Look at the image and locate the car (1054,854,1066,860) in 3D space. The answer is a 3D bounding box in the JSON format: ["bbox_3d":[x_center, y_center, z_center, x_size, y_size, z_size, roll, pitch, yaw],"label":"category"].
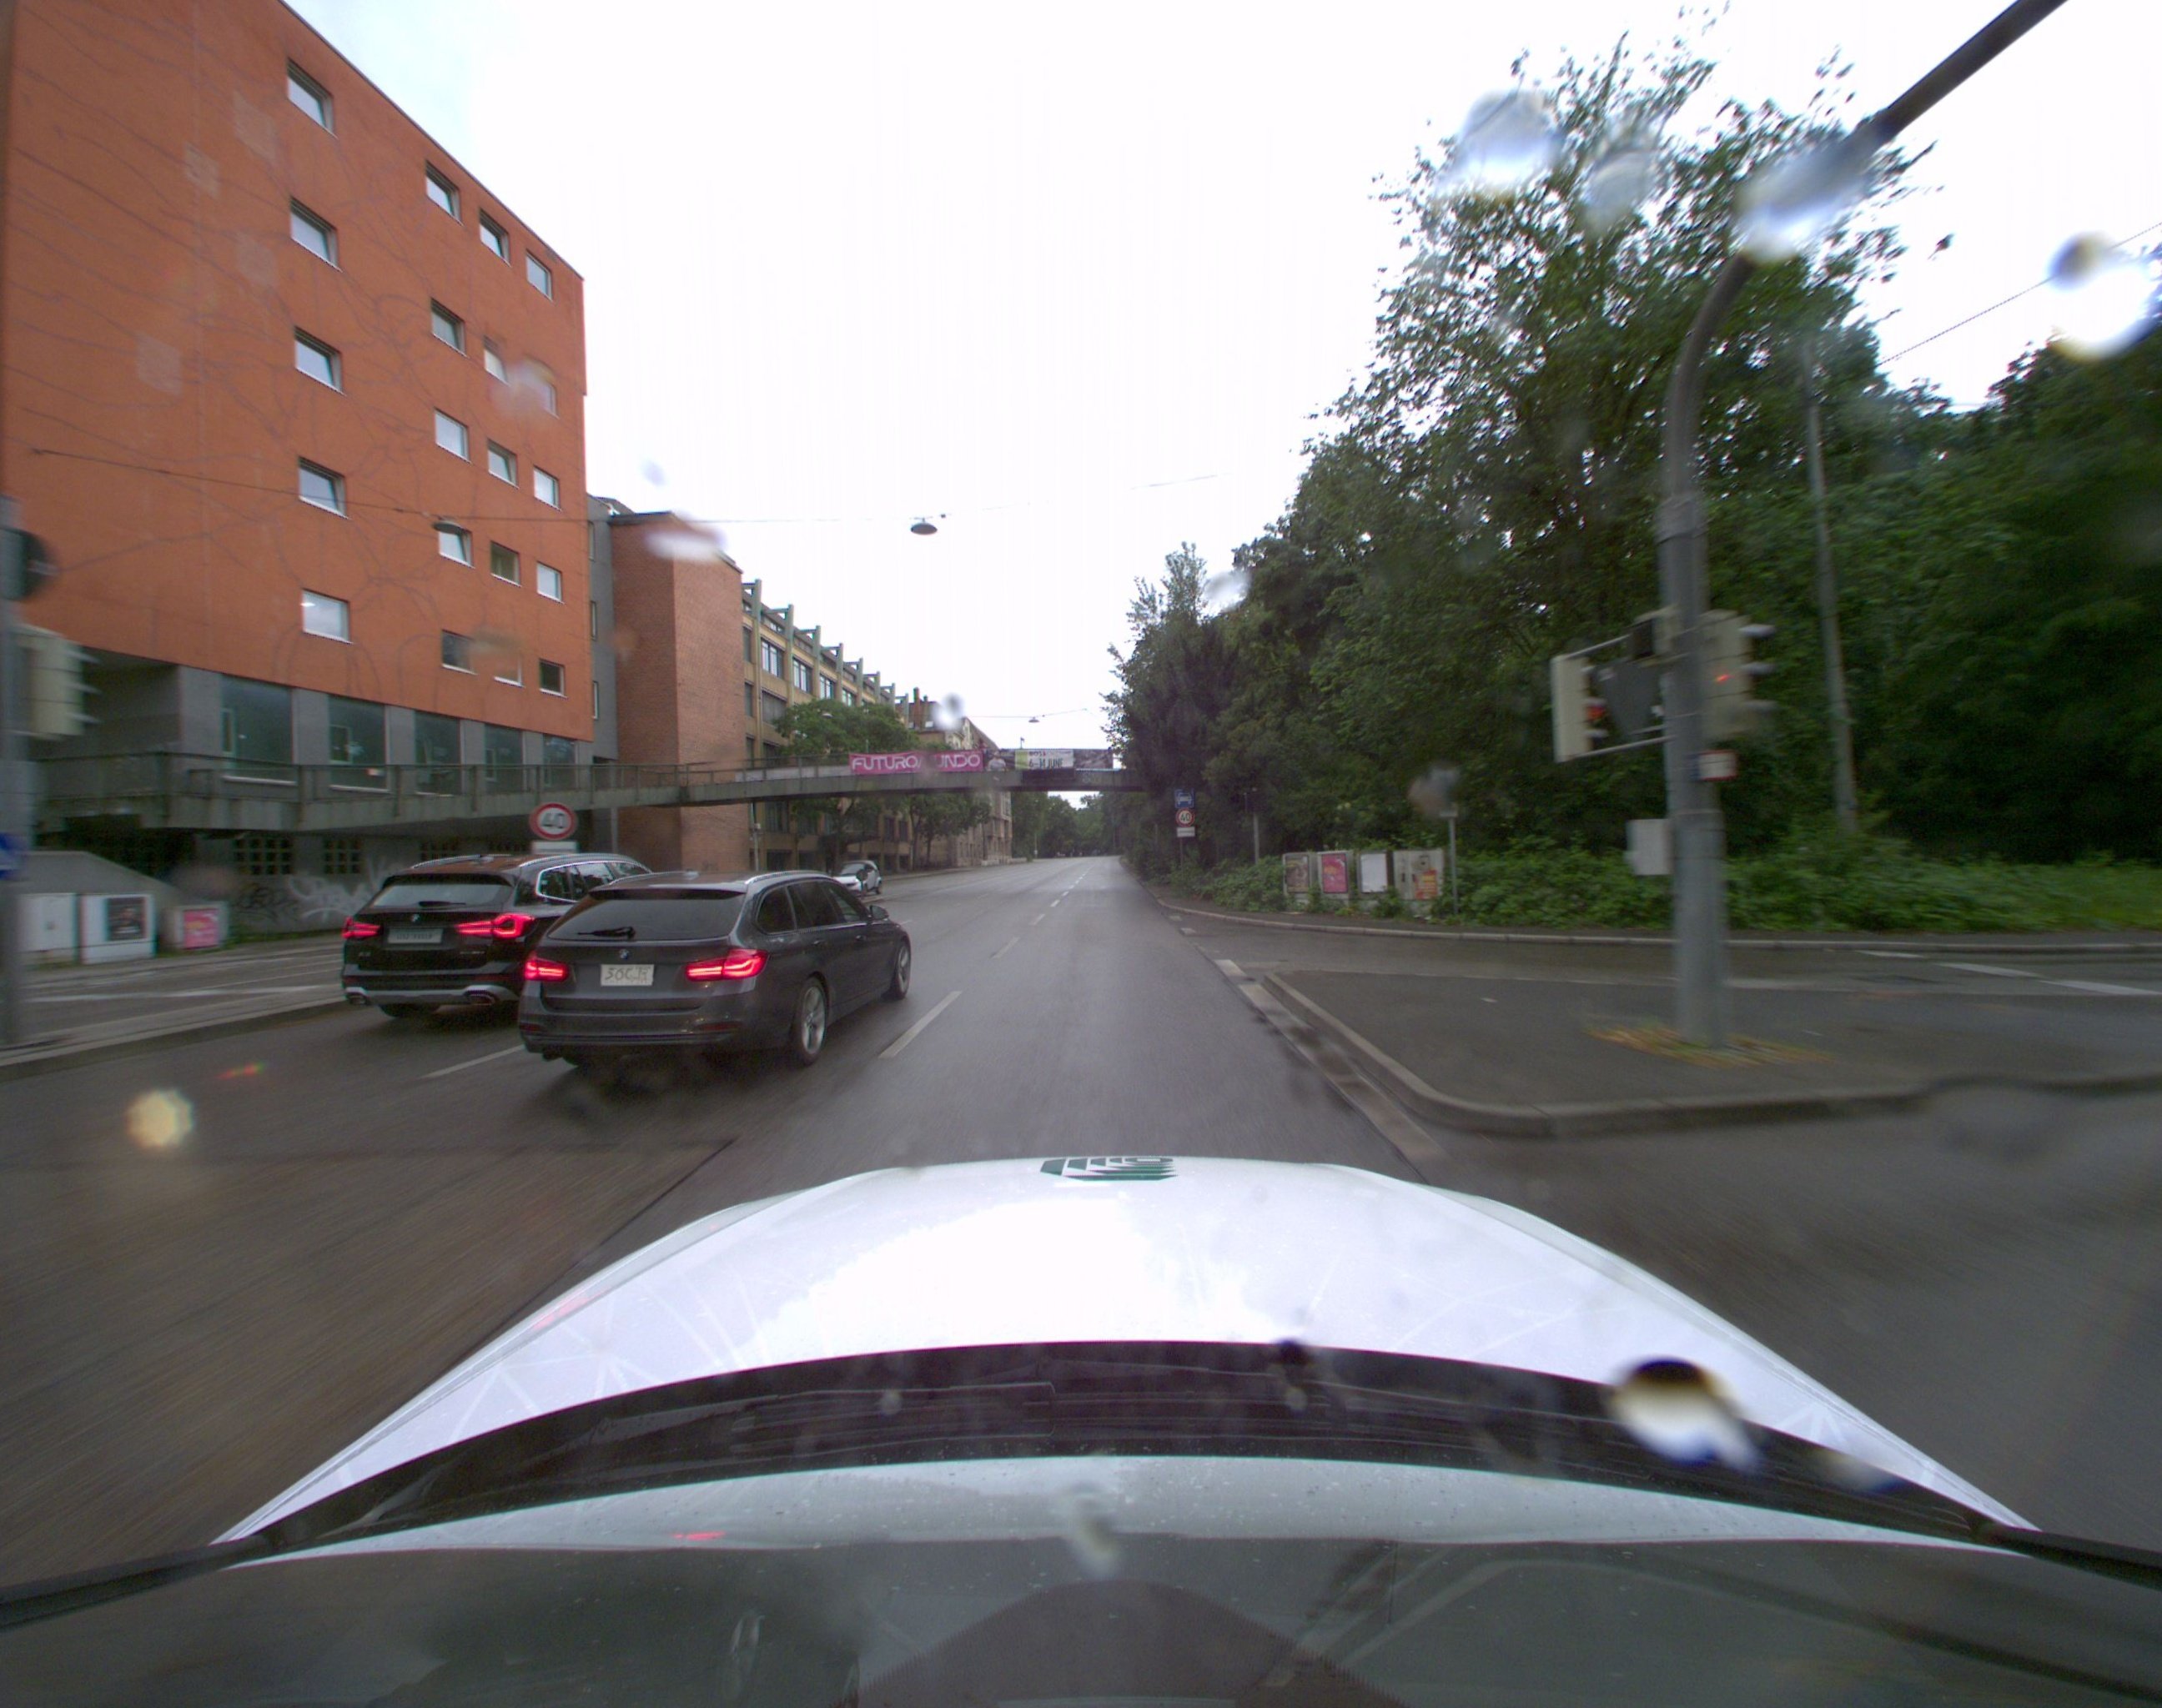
[{"bbox_3d":[-6.087,0.871,235.907,3.572,1.547,1.615,1,0,3],"label":"car"}]

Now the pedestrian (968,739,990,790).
[{"bbox_3d":[-4.874,-4.255,38.873,0.952,2.345,1.005,1,-1,-4],"label":"pedestrian"}]

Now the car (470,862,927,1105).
[{"bbox_3d":[-2.793,0.820,7.260,1.769,1.458,4.481,0,0,3],"label":"car"}]

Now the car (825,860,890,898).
[{"bbox_3d":[-9.682,1.047,35.466,1.594,1.499,3.713,-3,-1,2],"label":"car"}]

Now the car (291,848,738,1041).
[{"bbox_3d":[-5.880,0.798,9.316,1.801,1.656,4.448,1,0,3],"label":"car"}]
